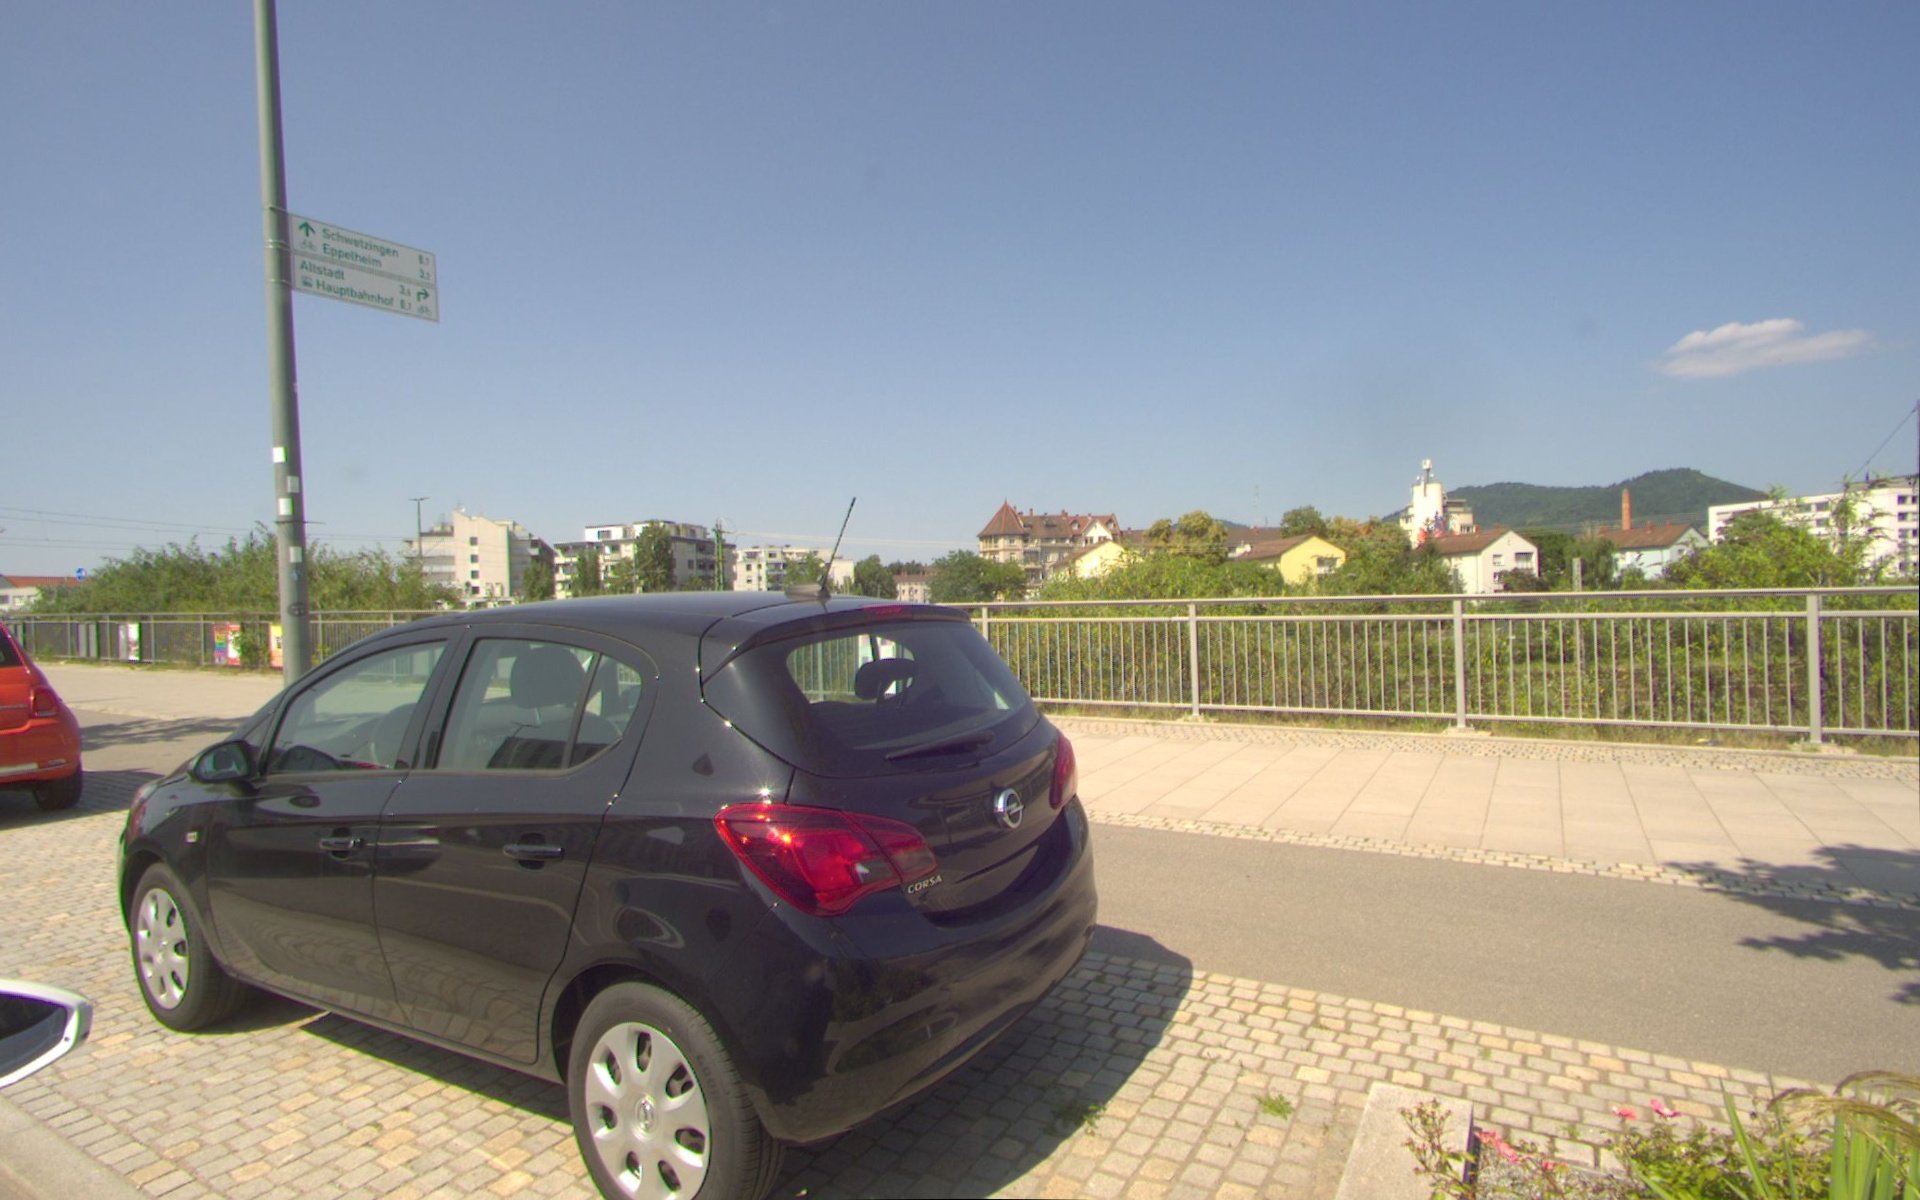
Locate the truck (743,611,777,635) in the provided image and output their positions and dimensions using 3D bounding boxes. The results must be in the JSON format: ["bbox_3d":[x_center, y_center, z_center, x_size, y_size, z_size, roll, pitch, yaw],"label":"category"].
[{"bbox_3d":[-26.131,3.057,131.010,2.079,2.919,5.871,-1,-2,14],"label":"truck"}]

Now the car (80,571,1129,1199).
[{"bbox_3d":[-1.355,0.741,3.499,3.495,1.577,1.577,-1,2,32],"label":"car"}]

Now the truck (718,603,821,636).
[{"bbox_3d":[-21.230,2.340,113.740,3.674,3.243,17.876,-1,-3,17],"label":"truck"}]

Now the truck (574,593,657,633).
[{"bbox_3d":[-29.419,1.178,85.878,3.672,3.244,6.485,-1,-2,17],"label":"truck"}]

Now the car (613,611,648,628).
[{"bbox_3d":[-33.712,1.980,102.508,1.767,1.661,3.516,-1,-2,15],"label":"car"}]

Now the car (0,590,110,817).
[{"bbox_3d":[-8.352,0.779,7.799,3.864,1.560,1.664,-2,1,35],"label":"car"}]

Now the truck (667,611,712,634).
[{"bbox_3d":[-30.777,2.602,113.978,2.081,2.396,5.866,-1,-2,19],"label":"truck"}]

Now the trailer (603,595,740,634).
[{"bbox_3d":[-26.752,1.536,94.564,3.674,3.243,17.244,-1,-3,17],"label":"trailer"}]
